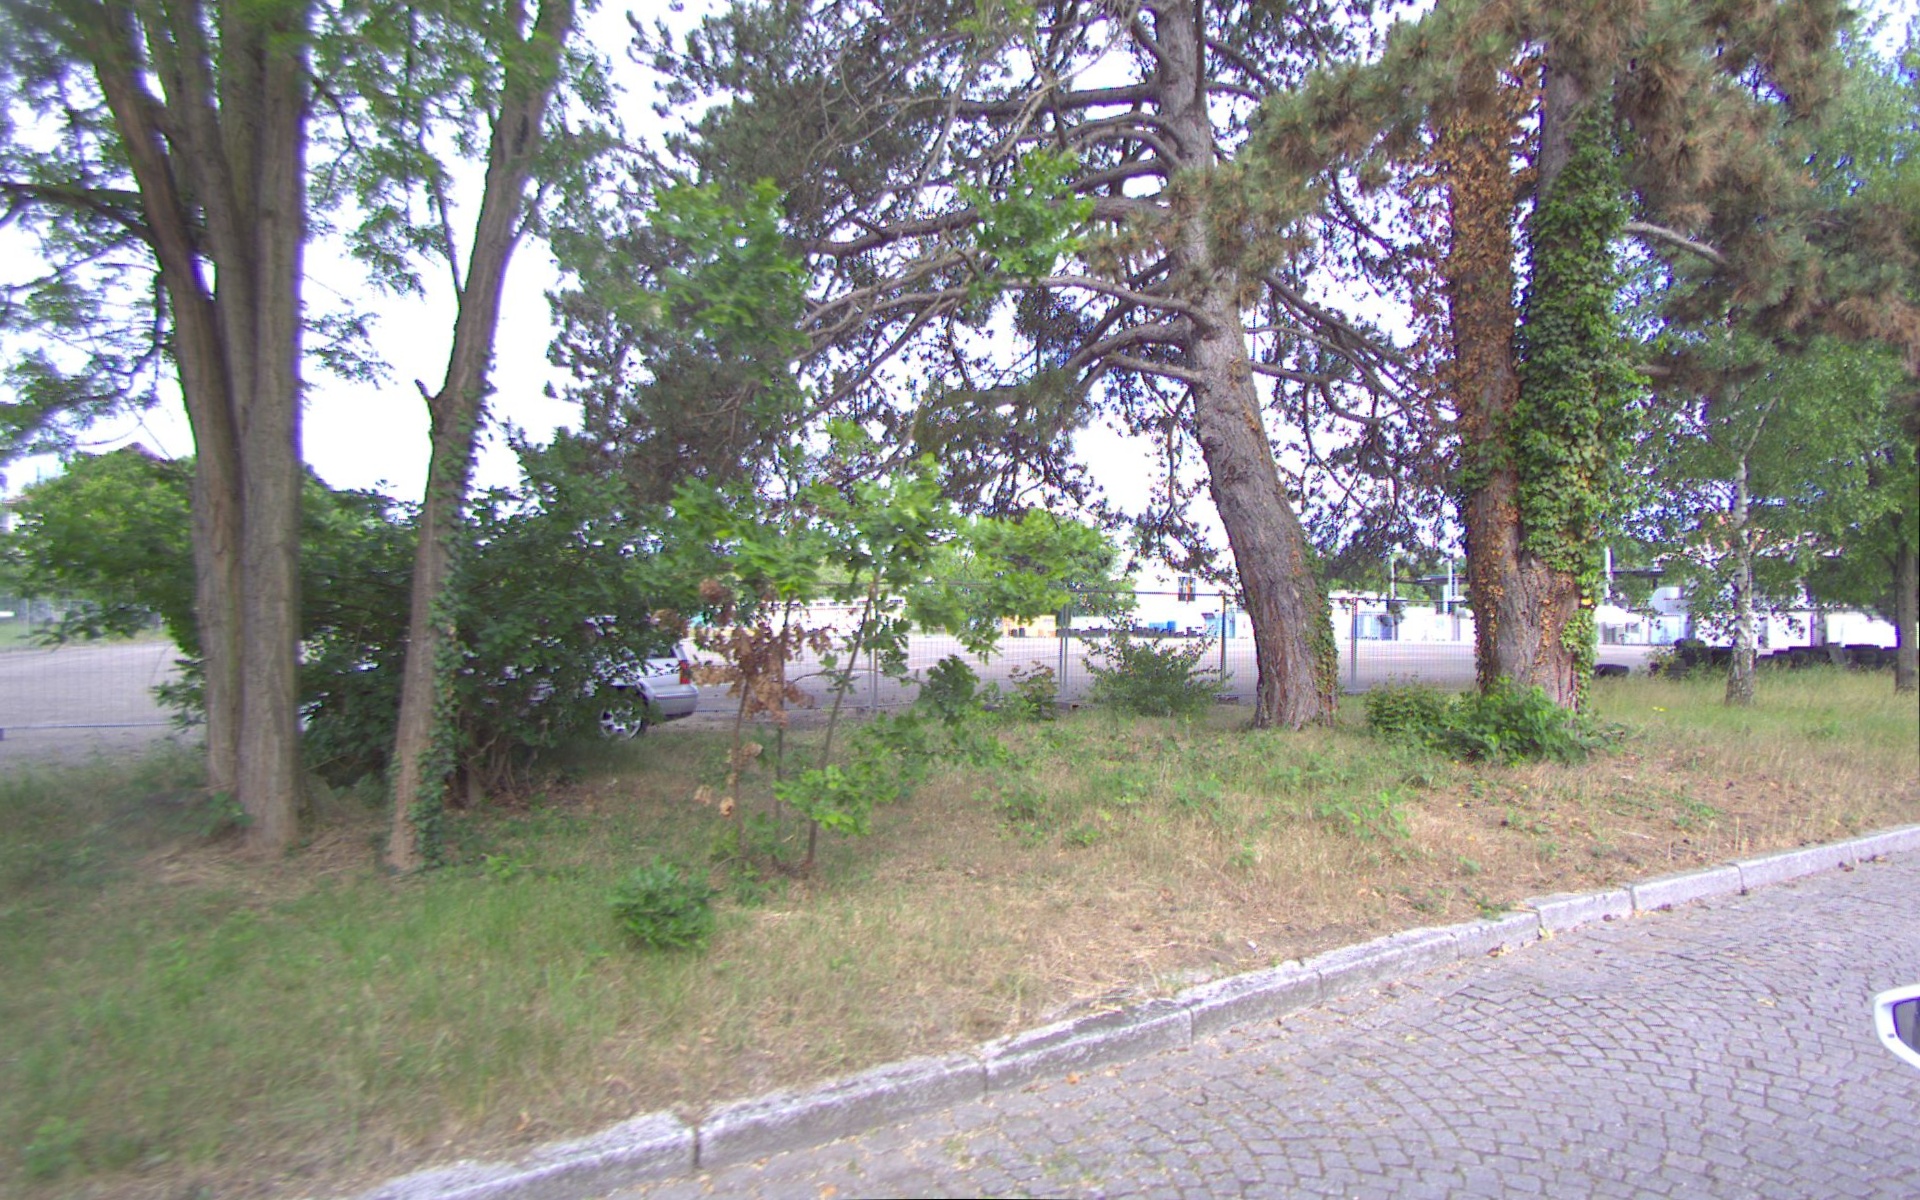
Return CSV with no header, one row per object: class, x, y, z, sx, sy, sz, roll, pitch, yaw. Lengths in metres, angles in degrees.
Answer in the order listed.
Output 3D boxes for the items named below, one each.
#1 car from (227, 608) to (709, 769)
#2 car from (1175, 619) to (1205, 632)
car,-5.152,0.838,10.902,4.373,1.435,1.814,1,-1,-33
car,31.567,3.495,137.975,1.808,1.655,4.088,1,-1,-29
